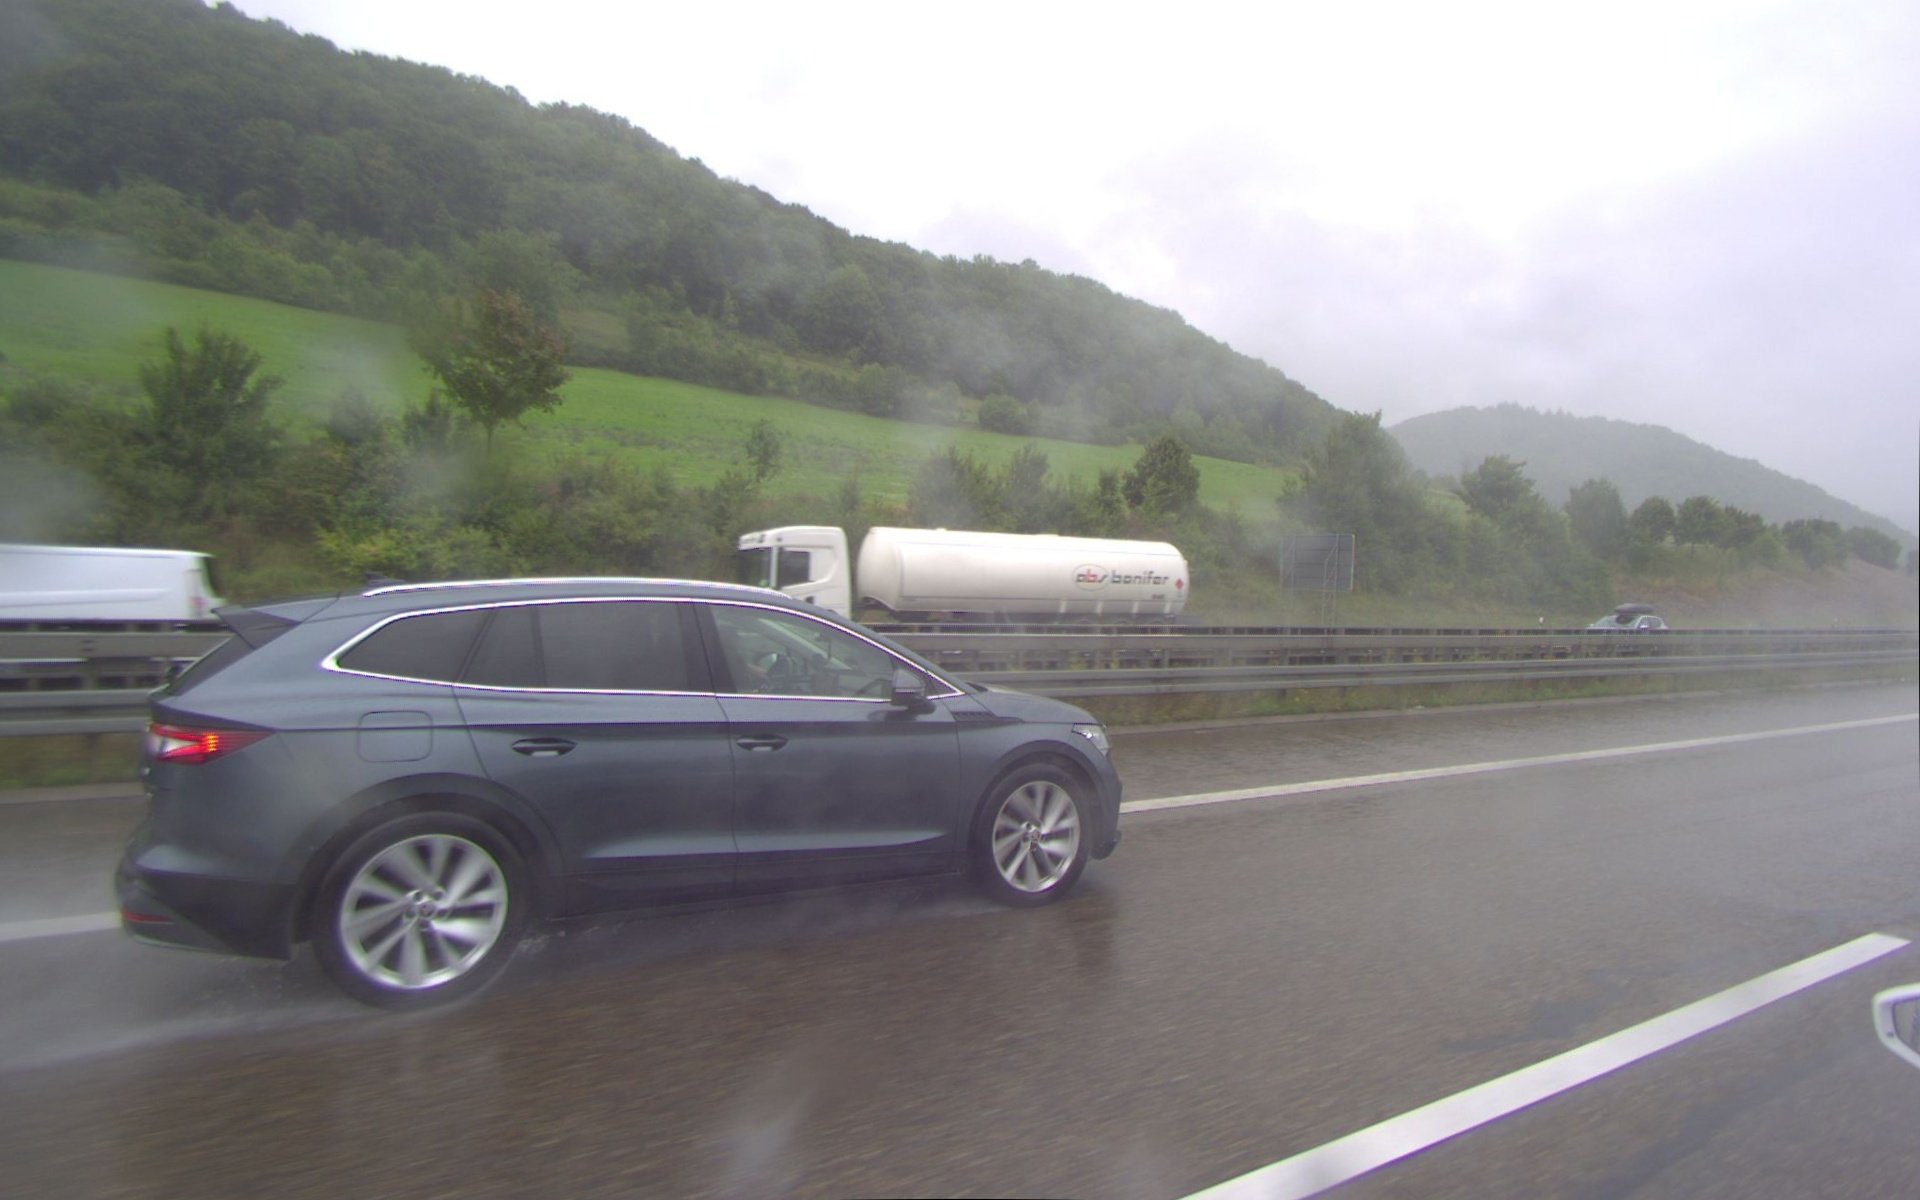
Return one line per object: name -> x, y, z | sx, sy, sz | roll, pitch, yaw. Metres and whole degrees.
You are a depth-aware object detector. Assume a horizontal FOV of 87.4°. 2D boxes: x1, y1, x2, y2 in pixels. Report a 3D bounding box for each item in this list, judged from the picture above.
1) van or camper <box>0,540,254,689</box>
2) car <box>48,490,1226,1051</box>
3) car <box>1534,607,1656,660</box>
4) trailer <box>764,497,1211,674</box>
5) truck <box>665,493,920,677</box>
van or camper -> -12.881, 0.185, 13.576 | 5.285, 1.903, 1.983 | 1, 0, -31
car -> -1.134, 0.621, 5.153 | 4.851, 1.705, 1.984 | 2, -2, -30
car -> 22.451, 1.178, 35.497 | 3.951, 1.757, 1.985 | 1, 0, -29
trailer -> 1.193, -0.200, 26.972 | 12.426, 3.954, 2.917 | 1, 0, -32
truck -> -3.937, -0.271, 23.747 | 5.257, 3.852, 2.868 | 1, 0, -32
